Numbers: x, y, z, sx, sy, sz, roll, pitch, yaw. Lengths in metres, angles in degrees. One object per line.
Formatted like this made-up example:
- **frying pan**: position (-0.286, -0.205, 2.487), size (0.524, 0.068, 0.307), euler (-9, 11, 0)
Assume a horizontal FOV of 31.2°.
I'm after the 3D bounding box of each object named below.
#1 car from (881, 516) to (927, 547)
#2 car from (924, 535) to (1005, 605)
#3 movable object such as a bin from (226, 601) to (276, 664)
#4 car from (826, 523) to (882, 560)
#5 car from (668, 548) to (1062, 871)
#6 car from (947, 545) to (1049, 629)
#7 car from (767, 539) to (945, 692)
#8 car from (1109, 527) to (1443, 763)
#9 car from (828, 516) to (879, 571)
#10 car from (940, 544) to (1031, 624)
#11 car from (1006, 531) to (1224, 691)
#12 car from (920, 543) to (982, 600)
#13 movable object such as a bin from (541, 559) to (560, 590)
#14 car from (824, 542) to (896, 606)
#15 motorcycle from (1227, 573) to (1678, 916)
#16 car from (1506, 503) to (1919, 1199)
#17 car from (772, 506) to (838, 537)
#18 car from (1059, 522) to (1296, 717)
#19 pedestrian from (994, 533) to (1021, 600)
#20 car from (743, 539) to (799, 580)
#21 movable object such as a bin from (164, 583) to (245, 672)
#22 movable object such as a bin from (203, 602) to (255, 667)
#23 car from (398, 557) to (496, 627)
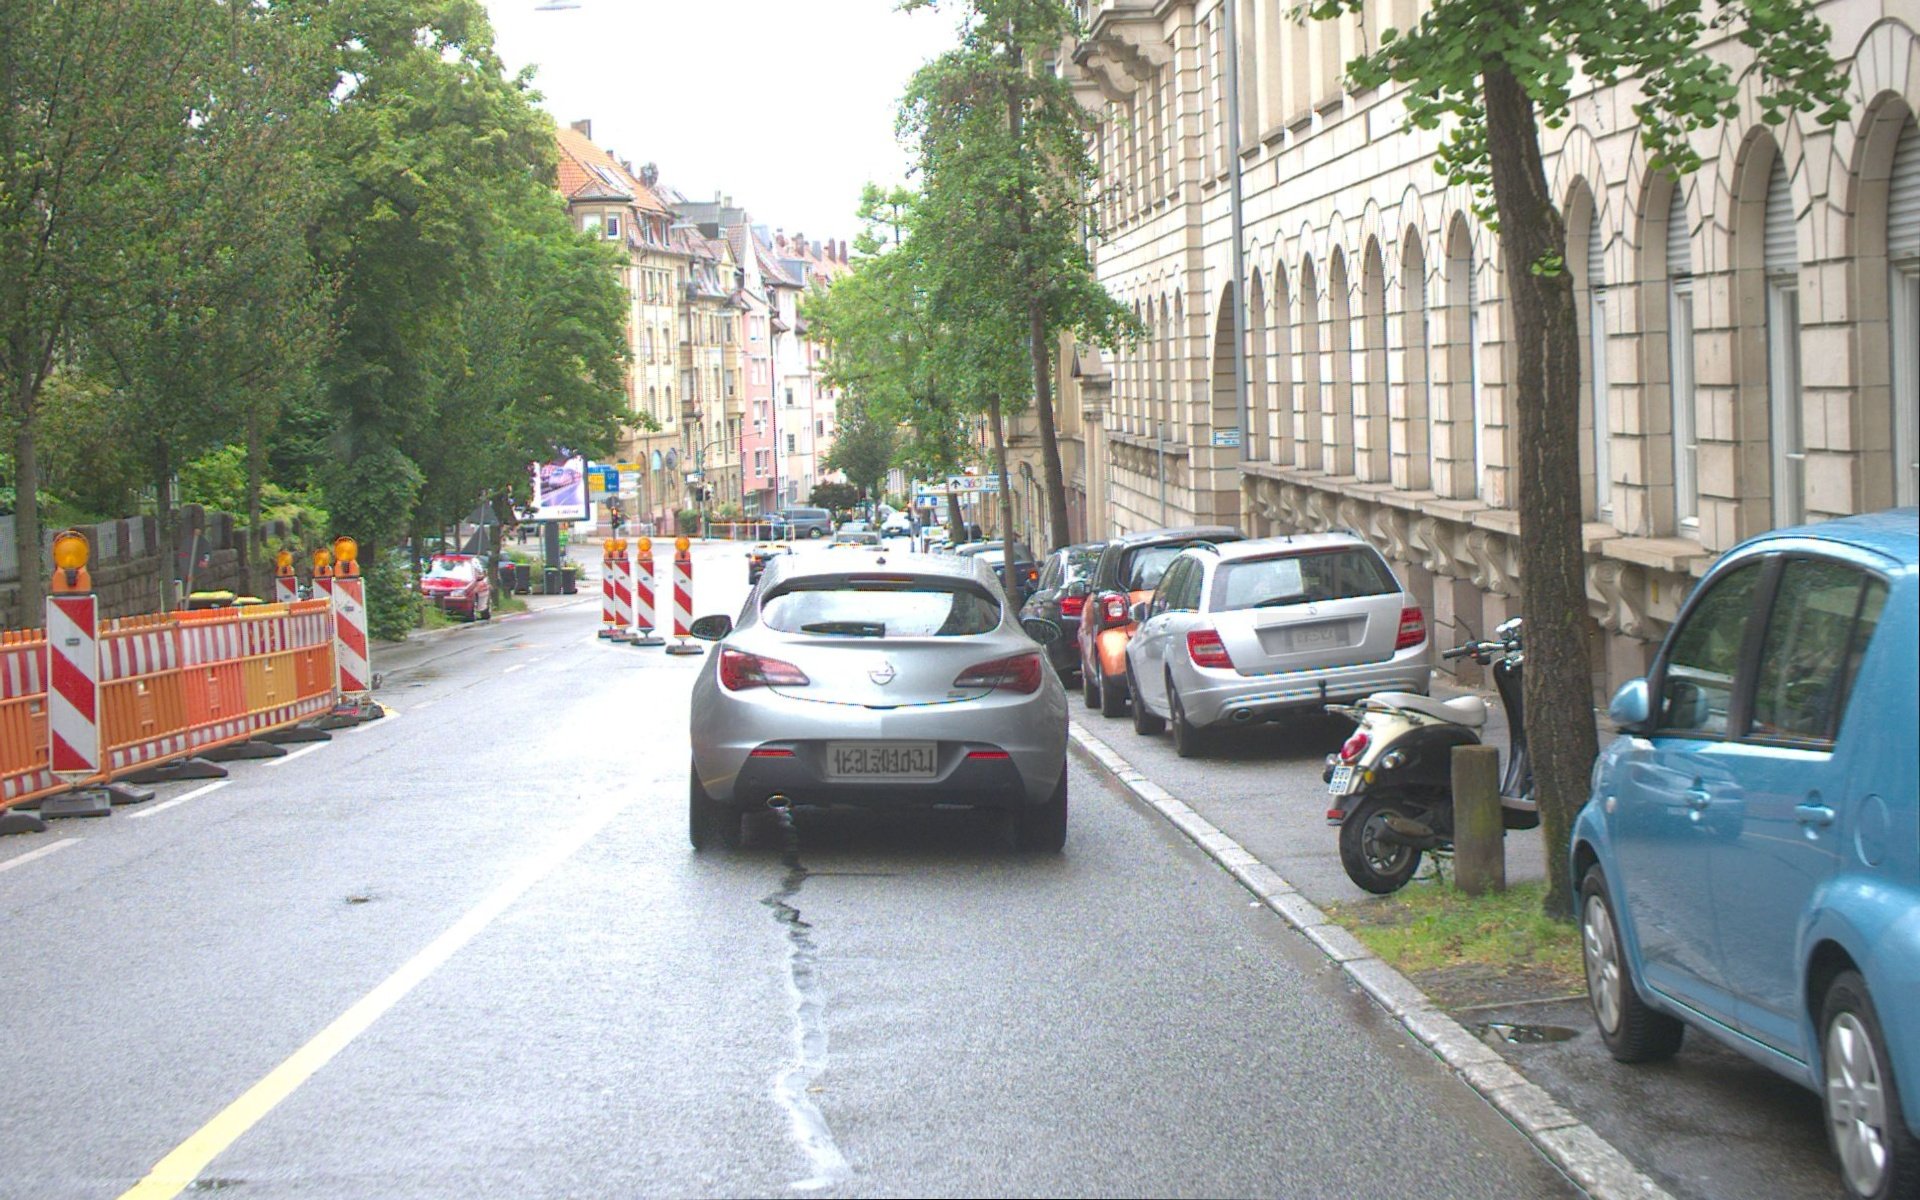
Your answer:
- **car**: position (-3.178, -3.898, 196.280), size (1.994, 1.678, 3.999), euler (1, 1, 8)
- **car**: position (0.090, -0.747, 82.822), size (1.637, 1.597, 3.858), euler (-2, 1, -4)
- **movable object such as a bin**: position (-10.404, 0.478, 50.475), size (0.604, 0.904, 0.624), euler (1, 1, 0)
- **car**: position (-5.109, -2.823, 166.695), size (1.994, 1.678, 3.999), euler (1, 1, 8)
- **car**: position (-0.444, 0.477, 17.759), size (1.811, 1.444, 3.869), euler (0, 1, 0)
- **car**: position (0.667, -0.259, 62.807), size (1.637, 1.424, 3.377), euler (-2, 1, -2)
- **car**: position (-1.079, 0.121, 36.155), size (1.772, 1.499, 3.869), euler (0, 1, -1)
- **car**: position (2.170, 0.250, 24.764), size (1.695, 1.426, 4.423), euler (-4, 1, -3)
- **car**: position (-3.518, -1.866, 113.852), size (1.656, 1.776, 3.666), euler (0, 1, -1)
- **car**: position (0.475, -0.341, 67.994), size (1.637, 1.464, 3.858), euler (-2, 1, -1)
- **car**: position (1.559, 0.056, 36.258), size (1.757, 1.456, 4.724), euler (-4, 1, -3)
- **car**: position (-0.267, -0.829, 97.580), size (1.637, 1.519, 3.858), euler (-2, 1, -1)
- **movable object such as a bin**: position (-14.215, -0.888, 119.395), size (0.625, 1.055, 0.720), euler (1, 0, -8)
- **car**: position (-2.595, -0.684, 88.978), size (1.656, 1.537, 3.666), euler (-3, 1, -4)
- **motorcycle**: position (2.086, 0.565, 14.396), size (1.933, 1.231, 0.657), euler (-5, 3, -38)
- **car**: position (2.568, 0.528, 8.470), size (1.656, 1.537, 3.666), euler (-3, 1, -2)
- **car**: position (-9.505, -4.827, 211.311), size (3.986, 1.744, 2.000), euler (1, 0, -2)
- **car**: position (1.859, 0.130, 30.226), size (1.638, 1.515, 3.184), euler (-4, 1, -3)
- **pedestrian**: position (1.331, -0.937, 96.955), size (0.716, 1.863, 0.636), euler (1, 0, -2)
- **car**: position (-7.125, -1.529, 129.127), size (1.993, 1.495, 4.001), euler (-1, 1, -4)
- **movable object such as a bin**: position (-10.565, 0.373, 48.093), size (0.945, 1.210, 0.856), euler (1, 1, 0)
- **movable object such as a bin**: position (-10.429, 0.487, 49.050), size (0.604, 0.904, 0.624), euler (1, 1, 0)
- **car**: position (-11.400, -0.196, 76.604), size (1.637, 1.434, 4.080), euler (-2, 1, -1)
